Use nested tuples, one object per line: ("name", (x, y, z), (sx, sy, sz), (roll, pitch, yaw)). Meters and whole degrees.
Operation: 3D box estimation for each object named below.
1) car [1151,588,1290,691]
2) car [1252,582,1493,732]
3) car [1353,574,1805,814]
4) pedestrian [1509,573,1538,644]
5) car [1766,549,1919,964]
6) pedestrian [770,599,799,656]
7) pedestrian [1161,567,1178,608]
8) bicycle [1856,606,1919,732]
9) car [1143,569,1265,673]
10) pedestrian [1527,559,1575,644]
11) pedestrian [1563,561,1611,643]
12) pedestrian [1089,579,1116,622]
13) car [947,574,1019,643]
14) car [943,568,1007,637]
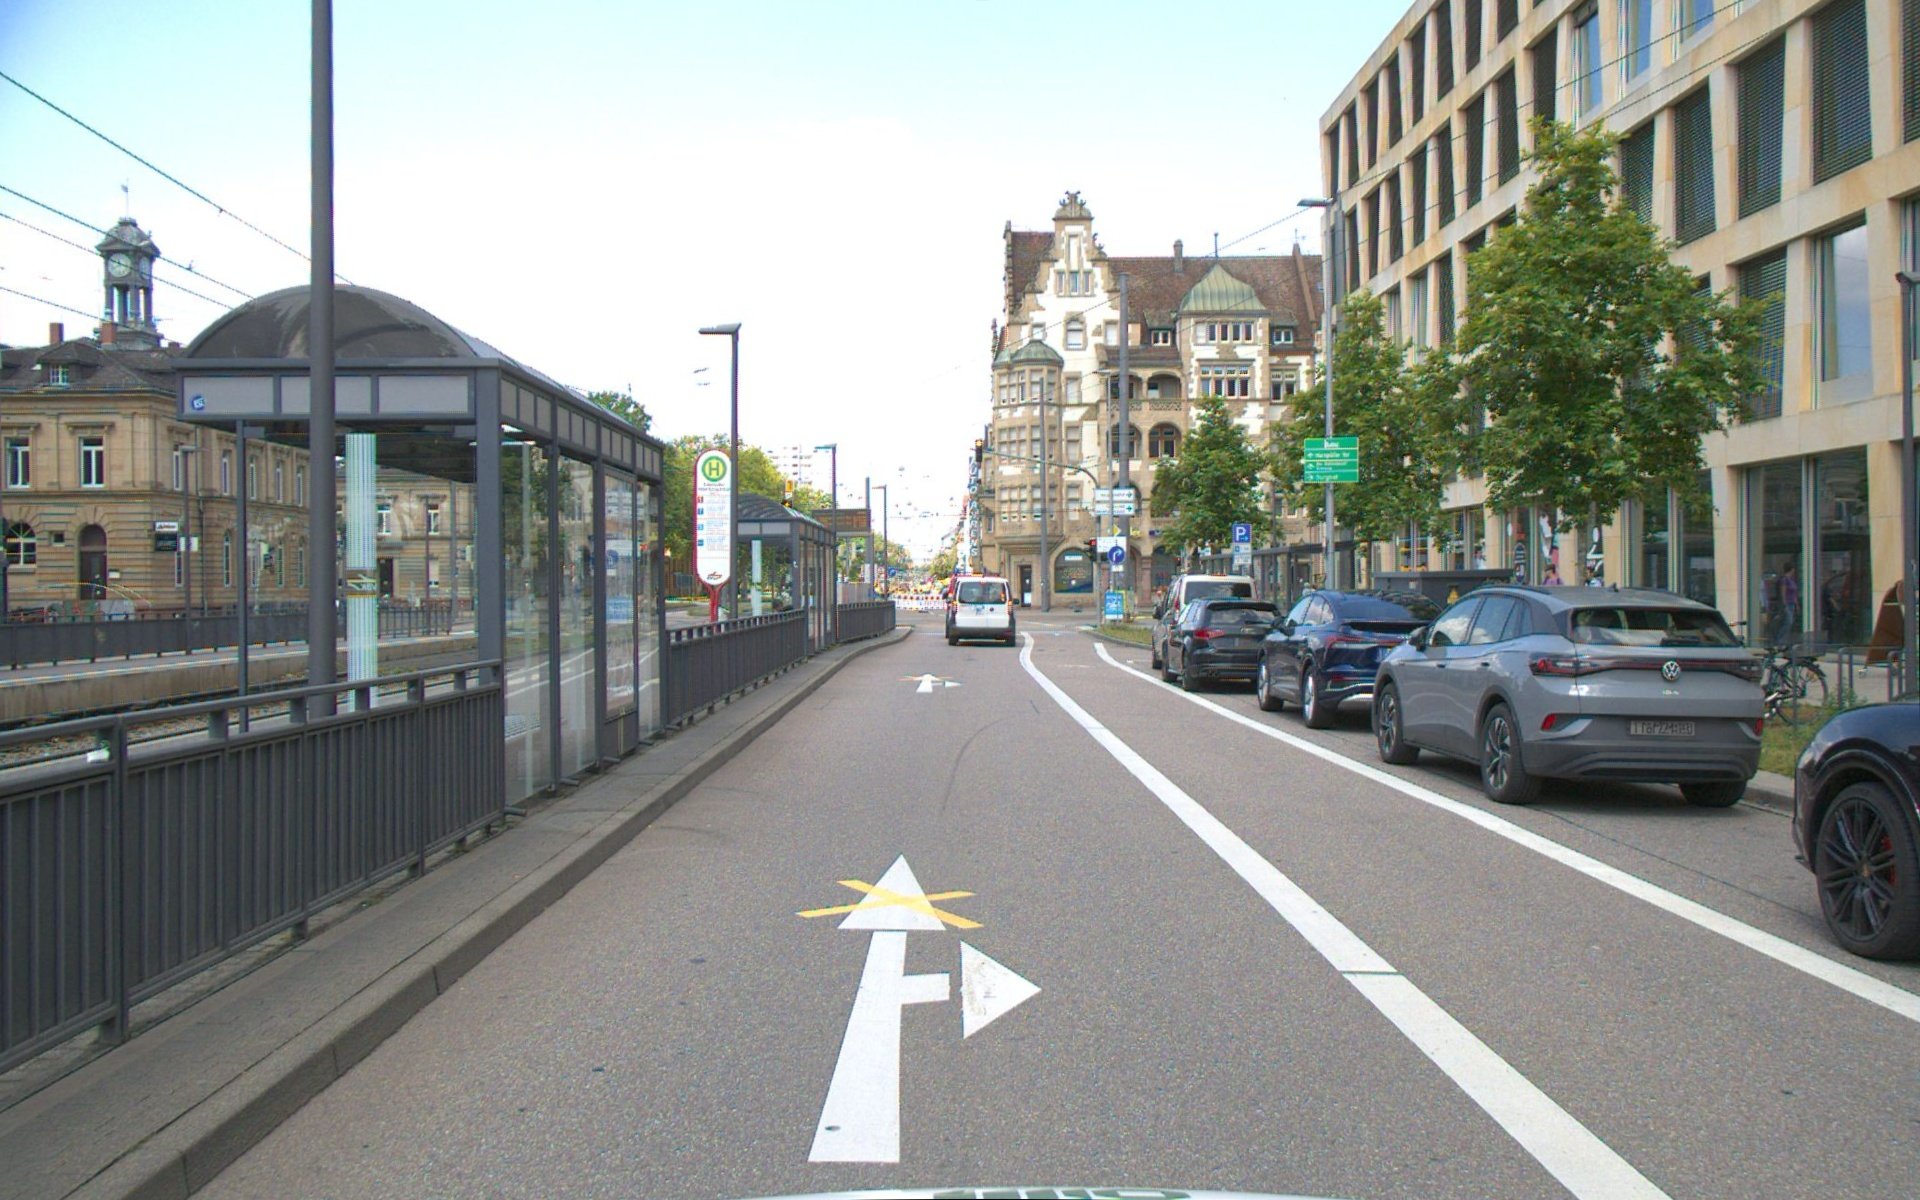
("car", (4.094, 0.571, 26.567), (1.414, 1.495, 4.091), (1, 0, -2))
("car", (4.917, 0.607, 20.328), (1.770, 1.619, 4.304), (1, 0, -1))
("car", (4.831, 0.623, 13.778), (1.771, 1.619, 4.838), (1, 0, -2))
("pedestrian", (11.749, 0.171, 34.467), (0.430, 1.474, 0.434), (-1, 0, -1))
("car", (4.849, 0.670, 5.597), (1.703, 1.698, 4.839), (1, 0, -2))
("pedestrian", (-3.667, 0.577, 34.545), (0.503, 1.160, 0.501), (-2, 0, -1))
("pedestrian", (8.230, -0.489, 64.907), (0.523, 1.599, 0.542), (-2, 0, -3))
("bicycle", (8.767, 0.561, 14.335), (1.802, 1.048, 0.340), (-2, 0, -2))
("car", (4.581, 0.363, 31.474), (1.675, 1.828, 3.360), (1, 0, -2))
("pedestrian", (12.345, 0.023, 34.554), (0.744, 1.754, 0.659), (-1, 0, -1))
("pedestrian", (13.101, 0.038, 34.576), (0.744, 1.699, 0.659), (-1, 0, -1))
("pedestrian", (5.466, 0.008, 63.326), (0.793, 1.599, 0.626), (-2, 0, -17))
("car", (0.584, 0.217, 45.105), (1.831, 1.777, 3.999), (1, 0, -1))
("car", (0.430, 0.061, 51.247), (1.831, 2.055, 3.999), (1, 0, -1))
